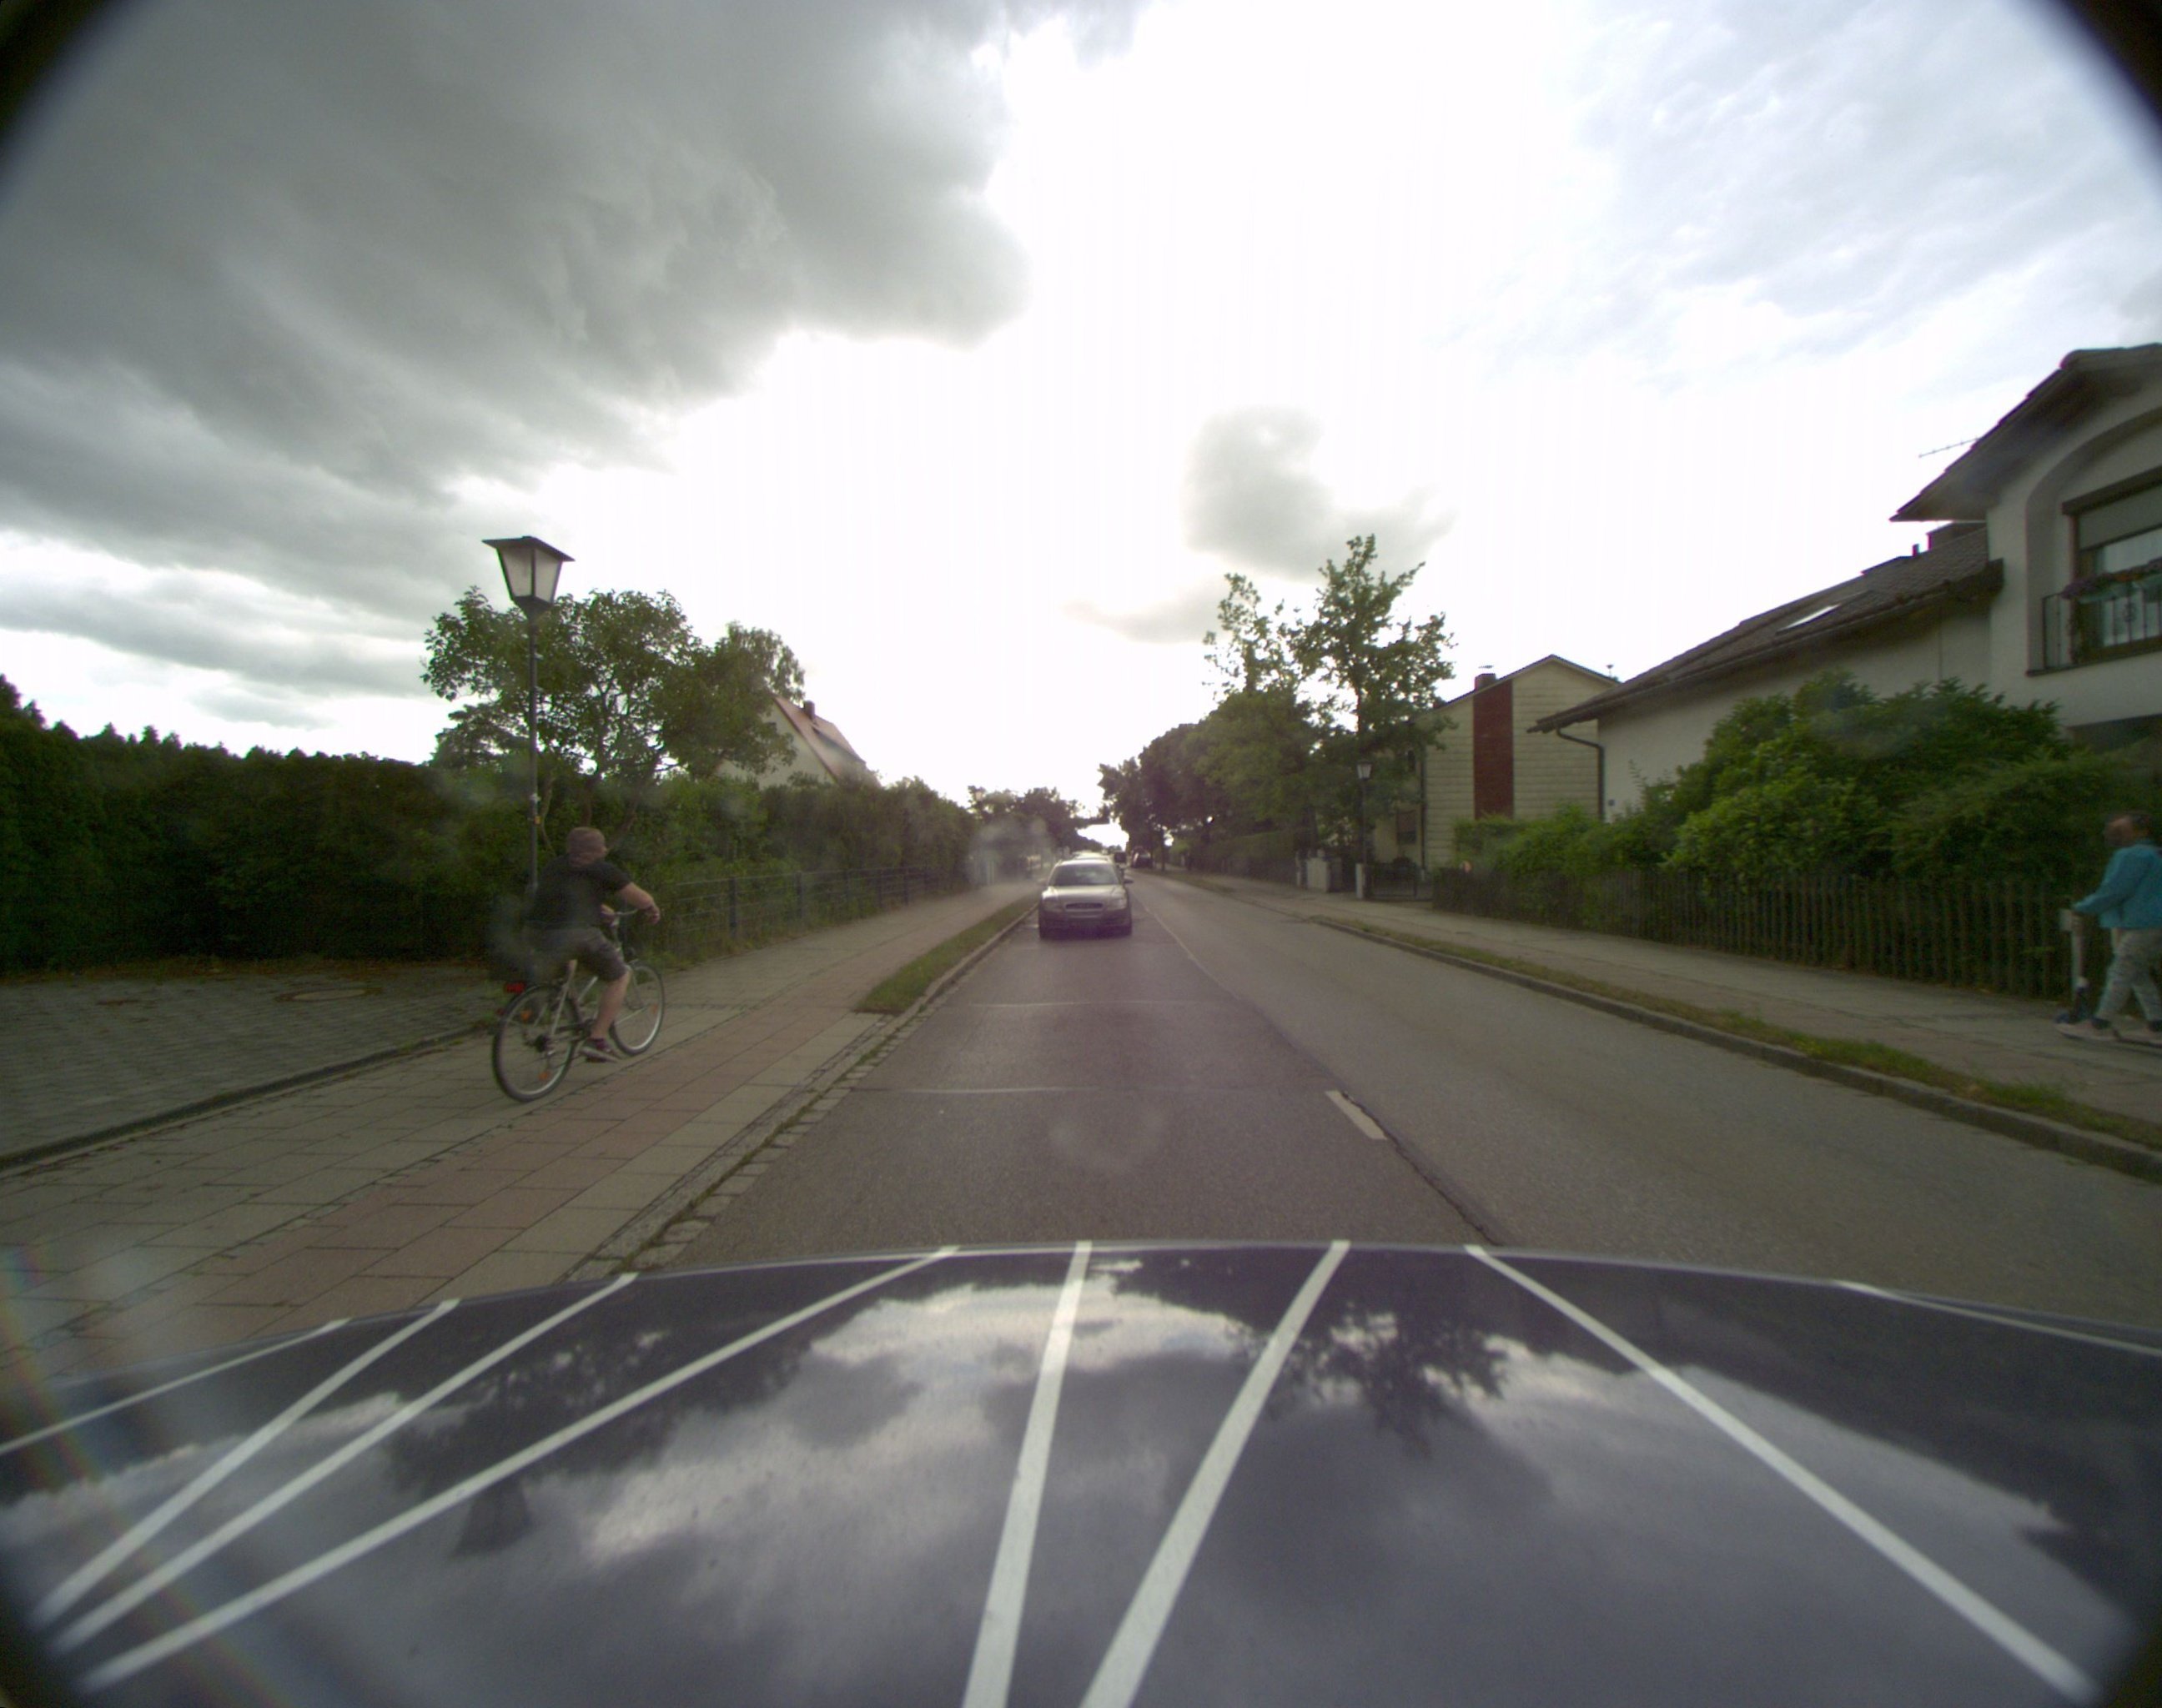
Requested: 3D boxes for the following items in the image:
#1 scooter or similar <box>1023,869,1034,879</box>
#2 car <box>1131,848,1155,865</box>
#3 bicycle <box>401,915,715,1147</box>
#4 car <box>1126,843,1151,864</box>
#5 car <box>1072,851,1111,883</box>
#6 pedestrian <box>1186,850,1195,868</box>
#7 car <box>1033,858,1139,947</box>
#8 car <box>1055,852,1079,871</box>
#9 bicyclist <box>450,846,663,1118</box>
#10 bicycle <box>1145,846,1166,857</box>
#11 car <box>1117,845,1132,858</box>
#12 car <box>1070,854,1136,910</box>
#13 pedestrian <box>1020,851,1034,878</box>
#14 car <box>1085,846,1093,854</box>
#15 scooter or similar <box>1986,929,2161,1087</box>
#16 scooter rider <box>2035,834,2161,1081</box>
[{"bbox_3d":[-3.010,1.136,43.922,0.618,0.553,0.742,-1,0,-3],"label":"scooter or similar"},{"bbox_3d":[6.405,0.262,78.964,1.999,1.739,3.999,-1,0,-2],"label":"car"},{"bbox_3d":[-3.360,1.065,5.157,0.766,1.136,1.845,-1,0,3],"label":"bicycle"},{"bbox_3d":[6.433,-0.086,84.802,2.246,2.258,4.469,-1,0,-2],"label":"car"},{"bbox_3d":[0.539,0.646,39.153,1.866,1.518,4.122,-1,0,1],"label":"car"},{"bbox_3d":[9.176,0.412,63.474,0.631,1.429,0.563,-1,1,1],"label":"pedestrian"},{"bbox_3d":[0.111,0.861,15.355,1.809,1.476,4.270,-1,0,1],"label":"car"},{"bbox_3d":[-1.145,0.583,63.095,1.866,1.518,4.122,-1,0,0],"label":"car"},{"bbox_3d":[-3.381,0.762,4.983,0.738,1.623,0.891,0,1,4],"label":"bicyclist"},{"bbox_3d":[11.420,-0.409,116.345,2.911,1.541,0.941,-1,1,22],"label":"bicycle"},{"bbox_3d":[6.079,-0.382,106.573,1.969,1.842,4.948,-1,0,2],"label":"car"},{"bbox_3d":[0.659,0.808,24.287,1.866,1.518,4.943,-1,0,1],"label":"car"},{"bbox_3d":[-3.166,0.604,44.607,0.792,1.592,0.671,-1,1,-2],"label":"pedestrian"},{"bbox_3d":[2.105,-0.945,196.917,1.998,2.002,4.000,-1,0,1],"label":"car"},{"bbox_3d":[6.763,0.972,4.933,0.522,0.845,1.061,-1,0,2],"label":"scooter or similar"},{"bbox_3d":[6.742,0.616,4.807,0.504,1.481,0.716,-1,1,2],"label":"scooter rider"}]
